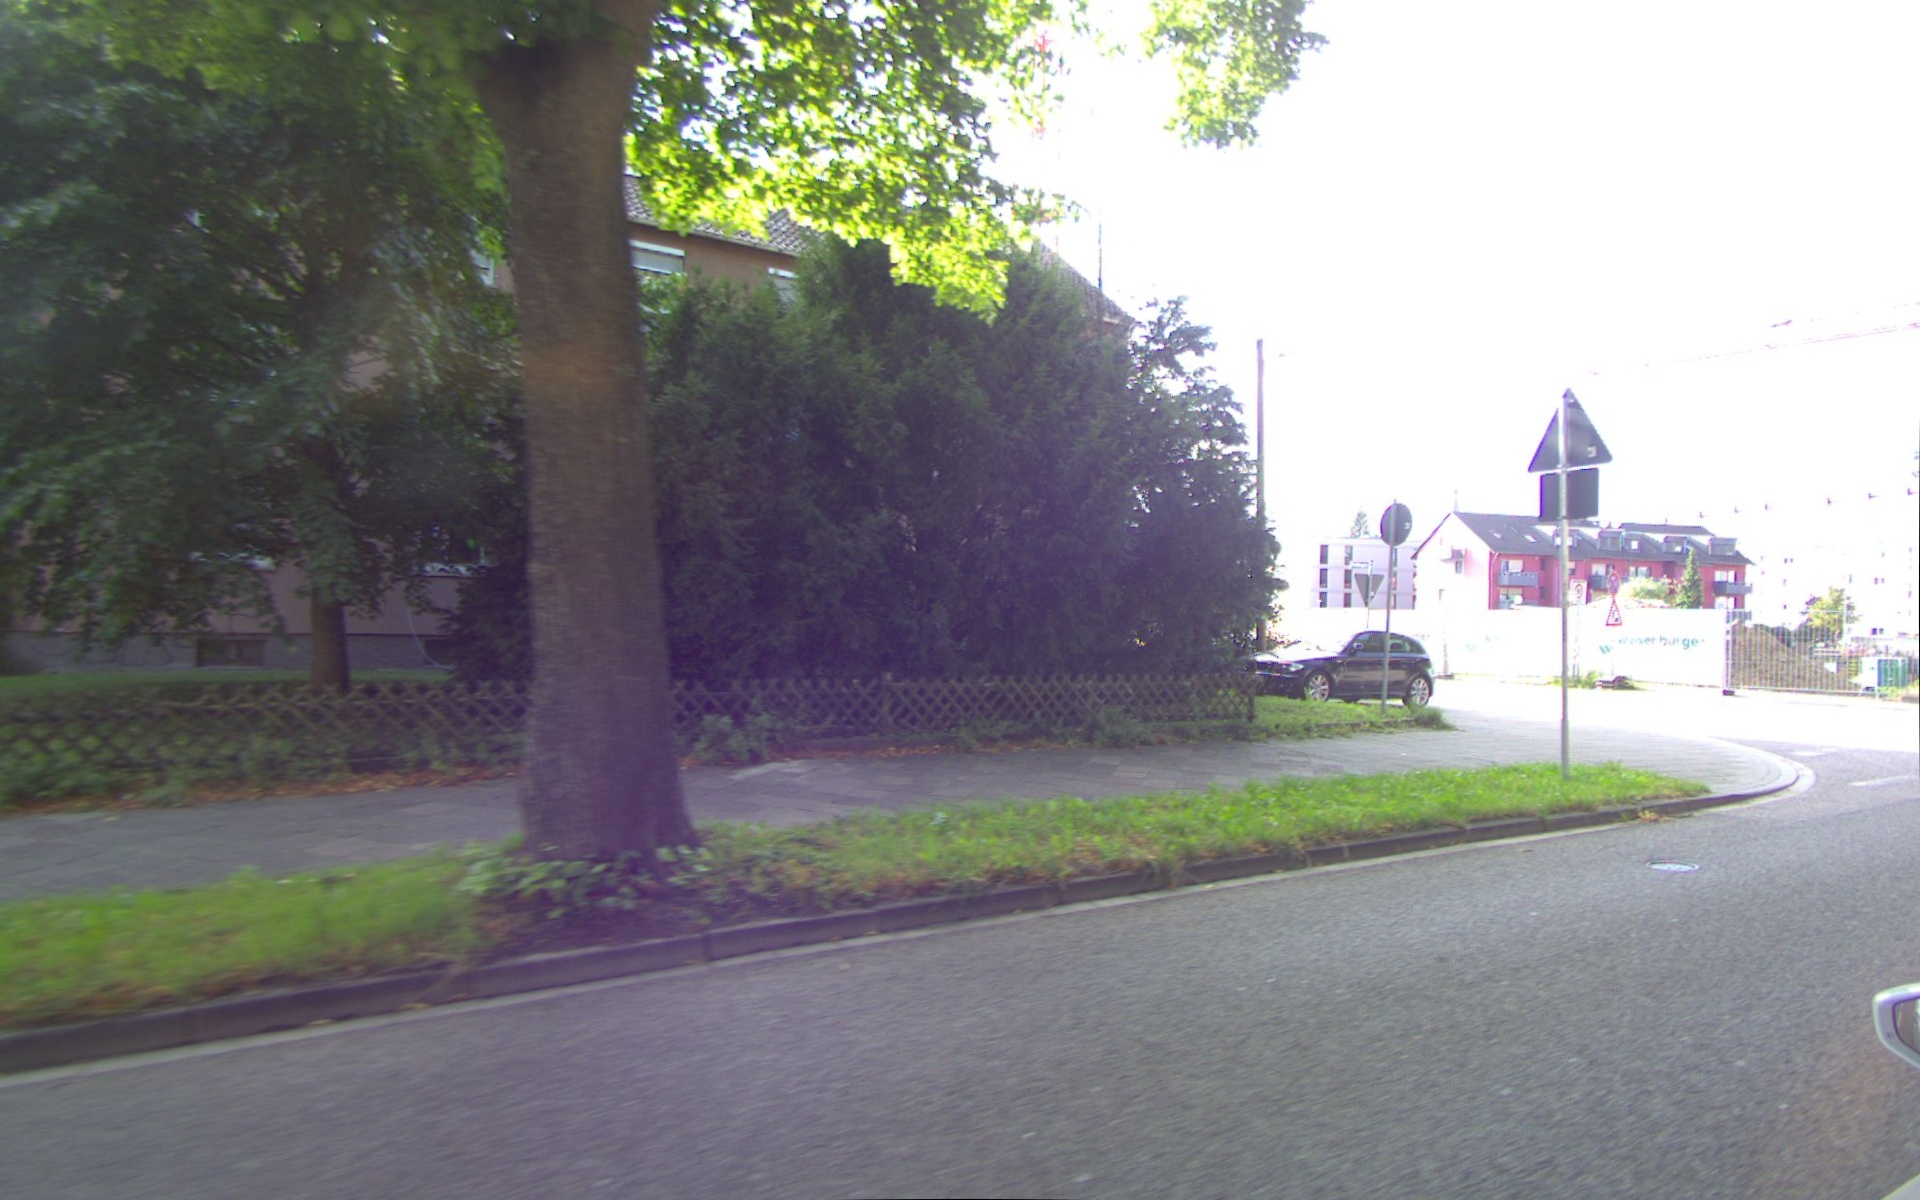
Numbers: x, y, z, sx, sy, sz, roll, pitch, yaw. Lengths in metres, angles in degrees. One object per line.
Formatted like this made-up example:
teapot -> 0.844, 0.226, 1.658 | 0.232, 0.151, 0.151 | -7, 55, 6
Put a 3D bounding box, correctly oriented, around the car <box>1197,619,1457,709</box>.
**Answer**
car -> 6.721, 1.175, 18.341 | 4.451, 1.447, 1.986 | 3, -2, -27
